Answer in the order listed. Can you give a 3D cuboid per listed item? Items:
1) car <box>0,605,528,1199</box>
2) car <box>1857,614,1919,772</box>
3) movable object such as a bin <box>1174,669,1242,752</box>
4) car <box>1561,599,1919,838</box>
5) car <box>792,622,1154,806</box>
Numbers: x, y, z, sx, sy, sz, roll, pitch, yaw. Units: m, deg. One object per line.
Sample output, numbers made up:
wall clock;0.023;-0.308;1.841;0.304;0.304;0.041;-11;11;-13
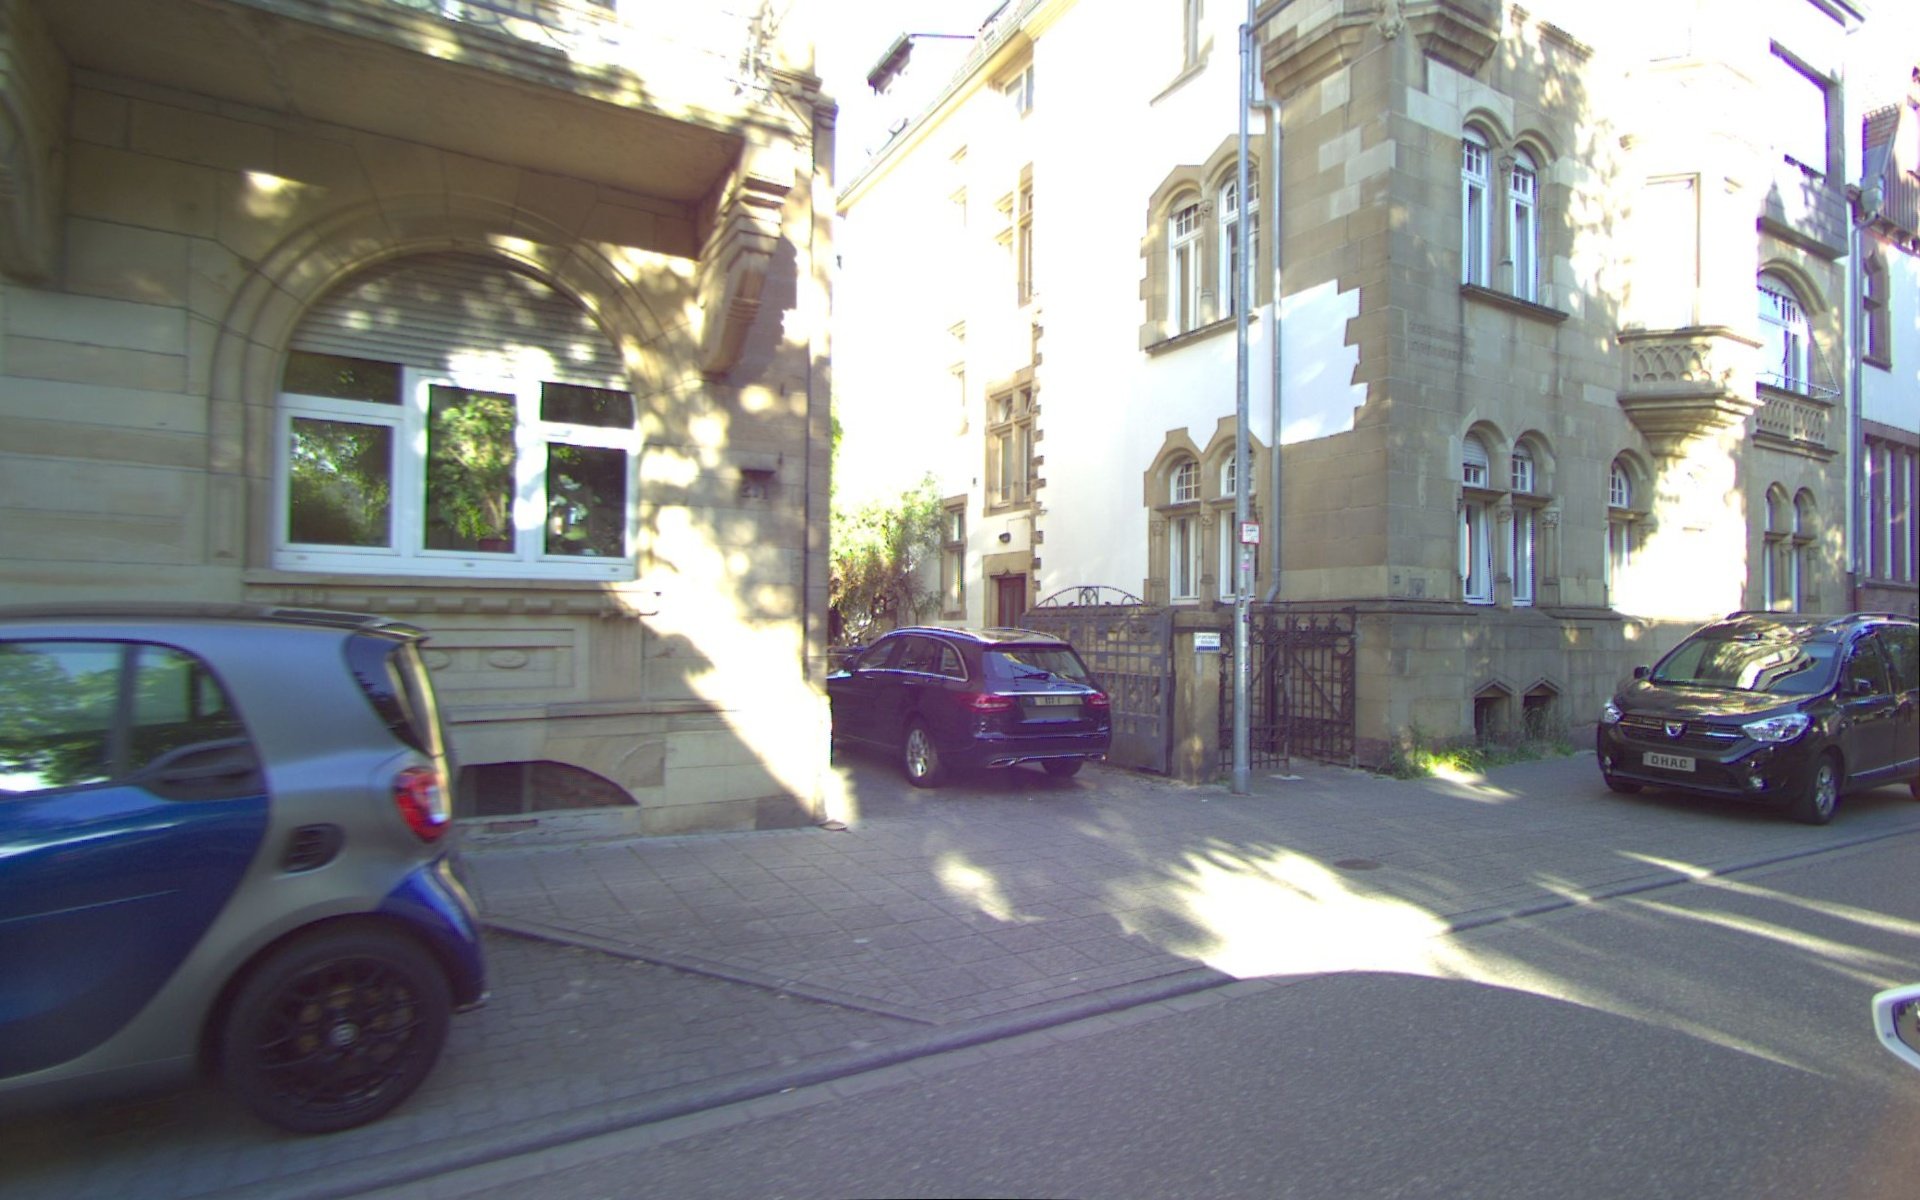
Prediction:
car;-2.968;0.818;3.085;2.827;1.529;1.675;2;1;-30
car;13.754;1.208;13.133;4.274;1.932;1.790;2;-1;-30
movable object such as a bin;3.066;1.356;12.437;0.645;0.972;0.525;1;-2;-28
car;8.031;0.995;9.817;4.488;1.876;1.761;2;-1;-30
car;-0.123;1.015;10.719;2.042;1.457;4.373;2;-1;-27
